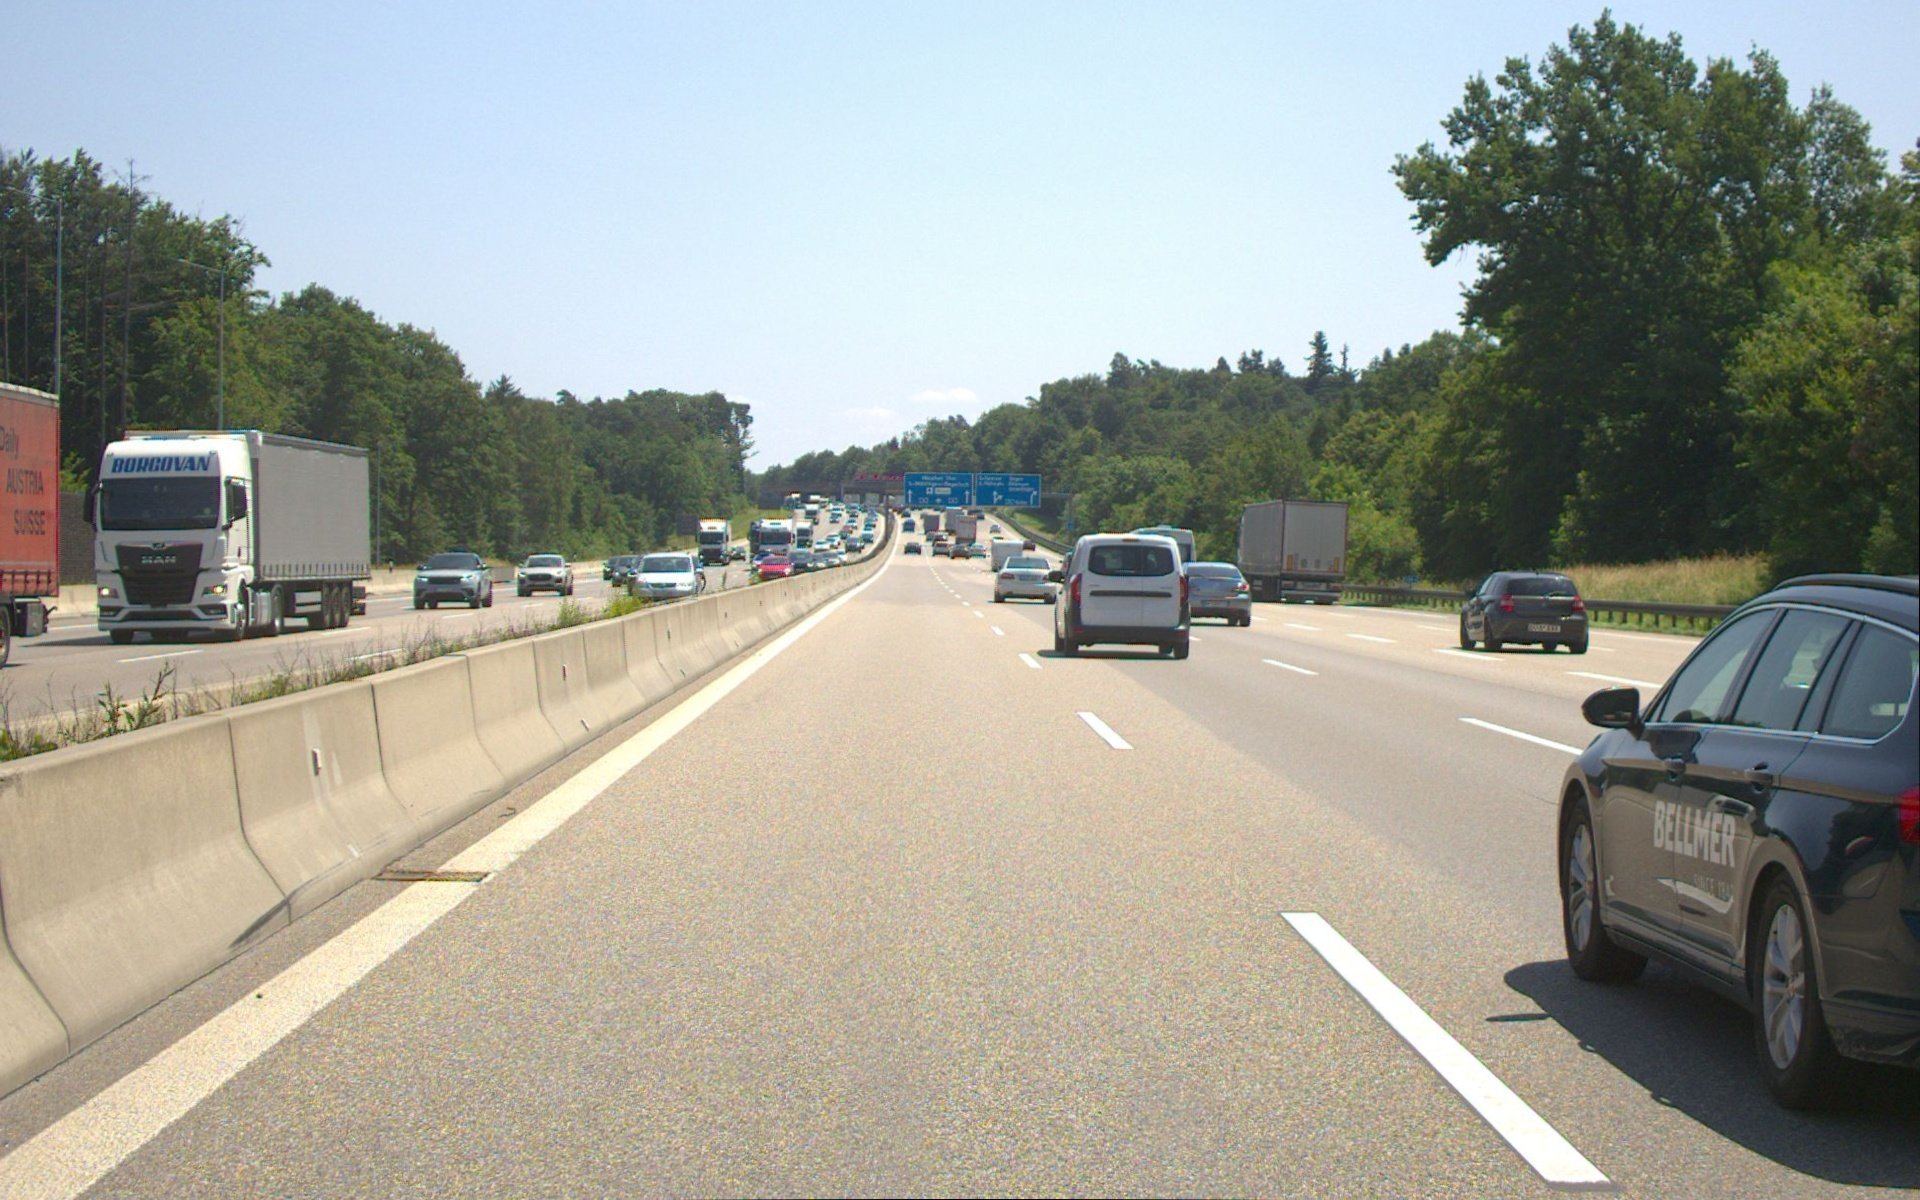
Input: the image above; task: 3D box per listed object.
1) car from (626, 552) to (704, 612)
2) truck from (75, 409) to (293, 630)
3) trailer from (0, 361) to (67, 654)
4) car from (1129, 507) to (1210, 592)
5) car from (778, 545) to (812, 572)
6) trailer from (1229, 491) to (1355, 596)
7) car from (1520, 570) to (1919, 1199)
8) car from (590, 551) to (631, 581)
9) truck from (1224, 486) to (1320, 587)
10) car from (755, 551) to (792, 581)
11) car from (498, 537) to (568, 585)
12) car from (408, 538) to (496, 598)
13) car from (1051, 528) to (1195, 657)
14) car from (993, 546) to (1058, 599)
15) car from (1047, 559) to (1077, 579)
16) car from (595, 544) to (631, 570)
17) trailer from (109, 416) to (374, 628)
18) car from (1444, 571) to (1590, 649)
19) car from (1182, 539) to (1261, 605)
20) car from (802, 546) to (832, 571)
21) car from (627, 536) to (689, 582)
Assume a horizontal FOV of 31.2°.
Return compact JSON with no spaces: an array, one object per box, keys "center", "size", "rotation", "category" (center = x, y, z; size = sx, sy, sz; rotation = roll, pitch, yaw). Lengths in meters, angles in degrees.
[{"center":[-8.293,-0.531,97.041],"size":[1.784,1.637,5.463],"rotation":[0,1,-1],"category":"car"},{"center":[-14.746,-1.507,65.804],"size":[2.734,4.017,6.782],"rotation":[0,1,-1],"category":"truck"},{"center":[-14.470,-1.231,44.046],"size":[2.571,4.036,14.183],"rotation":[0,1,-1],"category":"trailer"},{"center":[6.853,-1.682,112.932],"size":[2.143,2.643,5.710],"rotation":[2,2,-1],"category":"car"},{"center":[-10.235,-2.604,213.891],"size":[1.993,1.657,5.755],"rotation":[0,1,-2],"category":"car"},{"center":[13.370,-2.389,139.658],"size":[3.287,3.917,13.892],"rotation":[2,2,-1],"category":"trailer"},{"center":[2.979,0.660,10.419],"size":[1.729,1.442,4.961],"rotation":[0,1,0],"category":"car"},{"center":[-17.685,-1.729,174.104],"size":[1.730,1.508,4.171],"rotation":[1,1,-1],"category":"car"},{"center":[13.221,-2.747,146.189],"size":[3.254,4.092,5.988],"rotation":[2,2,-1],"category":"truck"},{"center":[-9.731,-1.791,179.668],"size":[1.730,1.508,5.045],"rotation":[1,1,-1],"category":"car"},{"center":[-16.349,-1.508,131.892],"size":[1.993,1.768,5.924],"rotation":[0,1,-1],"category":"car"},{"center":[-15.302,-0.975,103.789],"size":[1.993,1.768,5.039],"rotation":[0,1,-1],"category":"car"},{"center":[2.379,-0.141,51.200],"size":[1.859,1.819,4.612],"rotation":[0,1,-1],"category":"car"},{"center":[2.025,-0.871,107.277],"size":[1.843,1.623,4.554],"rotation":[0,1,-1],"category":"car"},{"center":[6.788,-2.097,229.766],"size":[1.835,1.333,3.643],"rotation":[0,1,-1],"category":"car"},{"center":[-21.933,-2.719,217.432],"size":[1.993,1.615,4.215],"rotation":[0,1,-2],"category":"car"},{"center":[-14.836,-1.588,72.341],"size":[2.754,3.987,14.468],"rotation":[0,1,-1],"category":"trailer"},{"center":[9.698,0.154,60.147],"size":[1.670,1.269,4.290],"rotation":[1,1,-2],"category":"car"},{"center":[5.977,-0.652,78.938],"size":[1.503,1.495,3.650],"rotation":[0,1,0],"category":"car"},{"center":[-9.867,-2.878,237.653],"size":[1.993,1.657,4.972],"rotation":[0,1,-2],"category":"car"},{"center":[-11.896,-1.639,135.800],"size":[1.993,1.768,5.924],"rotation":[0,1,-1],"category":"car"}]
